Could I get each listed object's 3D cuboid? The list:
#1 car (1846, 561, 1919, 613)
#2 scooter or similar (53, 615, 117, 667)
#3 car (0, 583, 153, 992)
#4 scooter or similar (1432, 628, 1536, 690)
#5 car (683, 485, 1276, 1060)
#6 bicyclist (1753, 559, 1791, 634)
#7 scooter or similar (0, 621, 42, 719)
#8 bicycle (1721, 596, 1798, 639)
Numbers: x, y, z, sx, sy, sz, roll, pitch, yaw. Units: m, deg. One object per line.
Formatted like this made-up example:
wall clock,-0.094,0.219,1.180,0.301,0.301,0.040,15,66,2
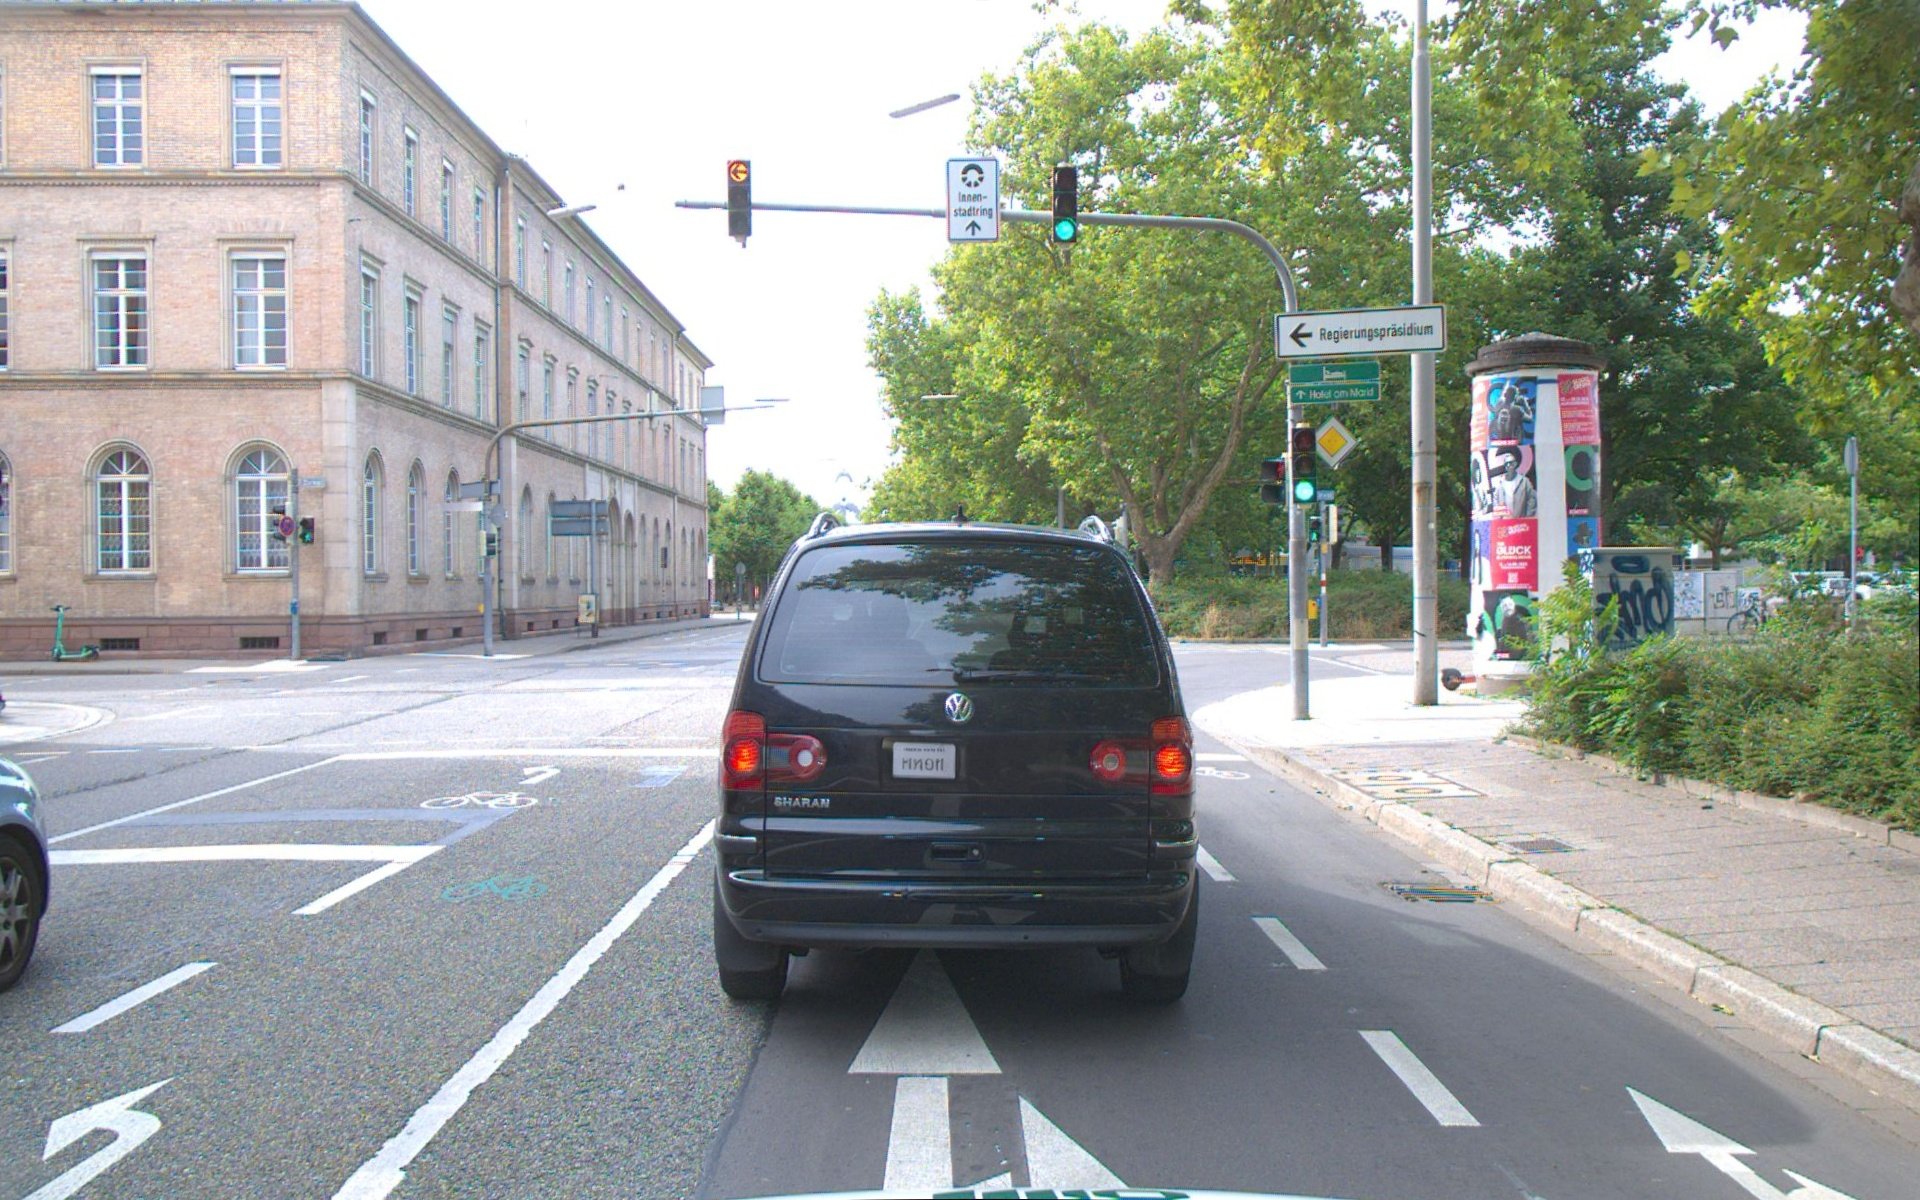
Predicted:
car,32.428,-0.460,56.530,1.922,1.680,4.151,-1,0,-3
scooter or similar,-18.381,0.869,34.753,1.115,1.068,0.379,-1,-1,-1
car,-4.227,0.706,4.859,1.678,1.445,4.252,-2,1,-2
scooter or similar,6.658,0.742,21.038,1.194,0.749,0.369,-1,0,-2
car,0.060,0.510,7.443,1.835,1.775,4.573,-1,1,0
bicyclist,17.848,-0.079,36.359,0.557,1.646,0.535,-1,0,-1
scooter or similar,-11.583,0.843,20.029,0.370,1.164,1.141,-1,-1,-4
bicycle,17.567,0.386,36.354,1.440,0.900,0.555,-1,0,-1
